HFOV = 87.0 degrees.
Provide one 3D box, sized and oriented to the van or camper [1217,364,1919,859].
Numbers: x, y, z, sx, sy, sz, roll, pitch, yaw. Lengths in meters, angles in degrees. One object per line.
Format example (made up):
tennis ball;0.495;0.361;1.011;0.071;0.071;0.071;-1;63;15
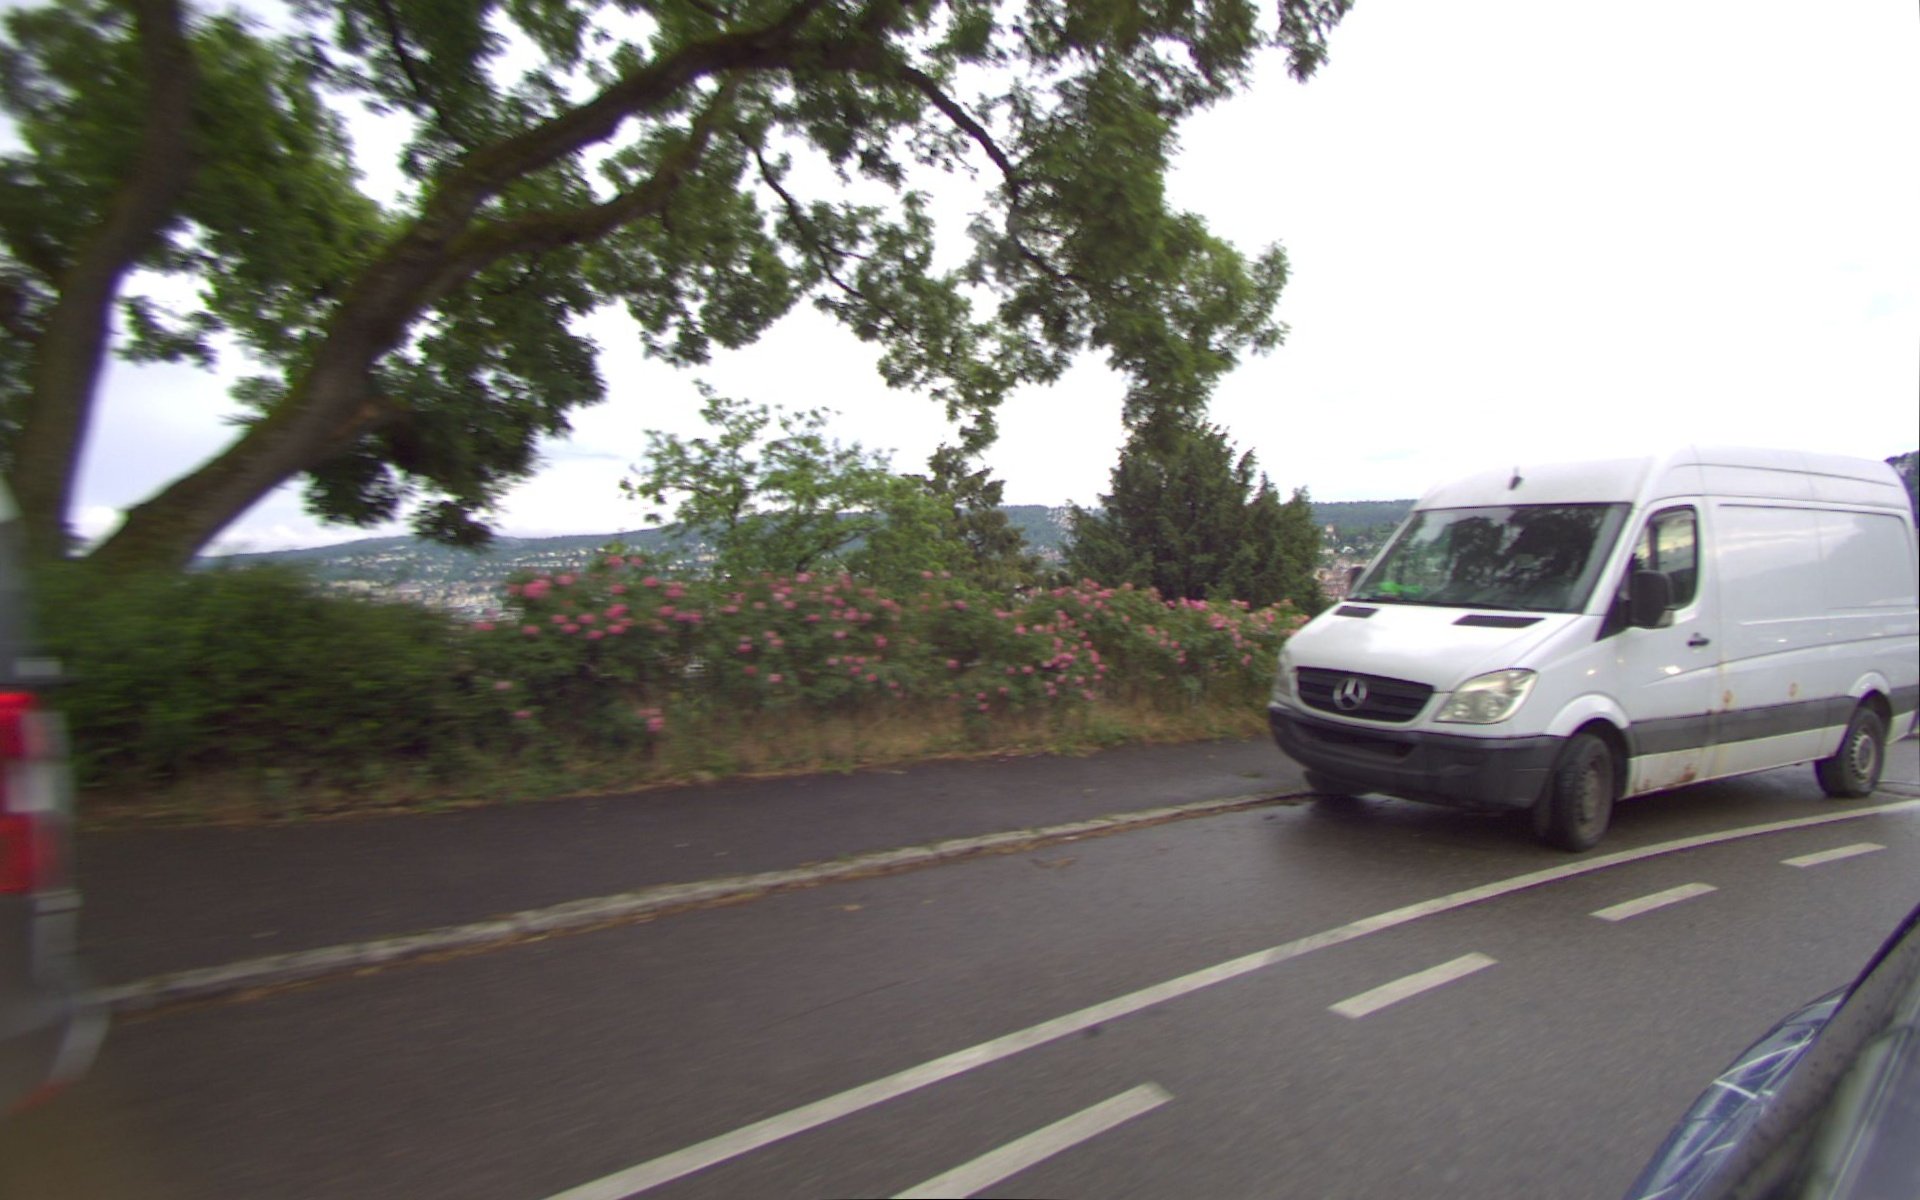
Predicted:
van or camper;4.902;0.063;7.596;5.767;2.612;2.077;1;2;-28

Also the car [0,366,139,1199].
car;-3.855;0.424;1.110;1.745;1.843;4.359;3;3;40
